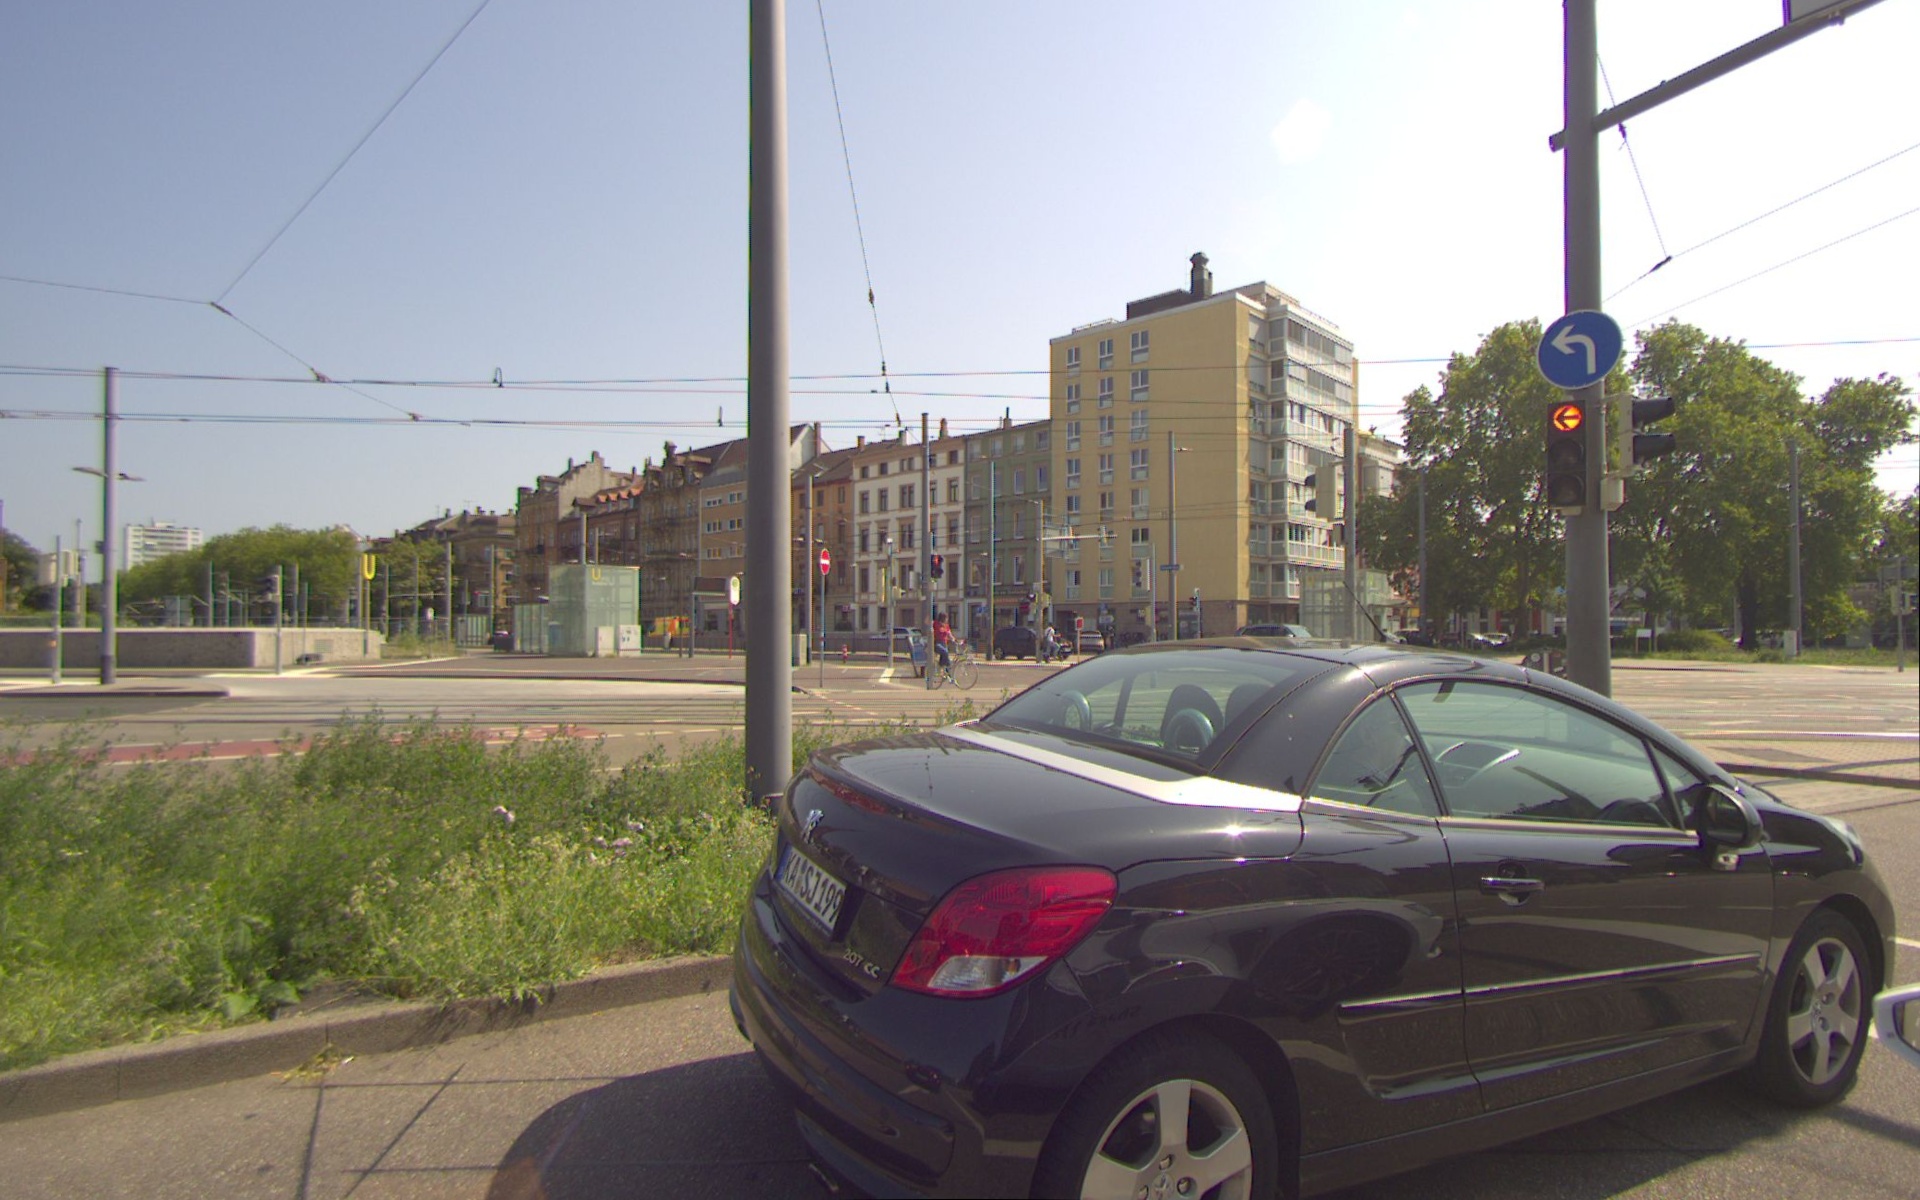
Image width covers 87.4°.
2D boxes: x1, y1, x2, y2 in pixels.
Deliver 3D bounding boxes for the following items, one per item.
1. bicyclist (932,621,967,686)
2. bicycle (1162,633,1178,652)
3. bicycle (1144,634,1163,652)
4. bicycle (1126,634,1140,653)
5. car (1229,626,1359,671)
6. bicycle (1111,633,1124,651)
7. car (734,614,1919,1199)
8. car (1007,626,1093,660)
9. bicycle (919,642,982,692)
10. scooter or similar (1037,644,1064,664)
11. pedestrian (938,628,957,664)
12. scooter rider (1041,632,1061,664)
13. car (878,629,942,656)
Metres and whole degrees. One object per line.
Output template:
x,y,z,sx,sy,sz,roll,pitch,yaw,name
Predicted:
-0.241,1.261,23.970,0.632,1.529,0.553,1,-2,-36,bicyclist
13.882,2.785,66.484,0.680,1.220,3.265,0,-2,5,bicycle
12.956,2.864,67.359,0.892,1.220,3.265,0,-2,5,bicycle
11.772,2.962,68.469,0.680,1.220,3.265,0,-2,5,bicycle
12.678,1.802,38.395,1.757,1.621,4.491,1,-2,-39,car
10.872,2.854,69.199,0.680,1.220,2.793,0,-2,5,bicycle
1.322,0.788,3.291,3.731,1.406,1.760,1,0,-26,car
4.295,2.042,48.587,1.725,1.581,4.159,2,-2,-40,car
-0.250,1.571,23.813,0.499,1.108,1.918,1,-2,-35,bicycle
3.975,2.367,43.989,1.132,0.835,0.517,1,-2,-35,scooter or similar
-0.550,2.022,44.460,0.842,1.563,0.743,0,-1,-1,pedestrian
3.985,2.112,44.098,0.602,1.371,0.682,1,-2,-35,scooter rider
-3.280,2.715,64.786,1.743,1.639,4.278,2,-2,-45,car
